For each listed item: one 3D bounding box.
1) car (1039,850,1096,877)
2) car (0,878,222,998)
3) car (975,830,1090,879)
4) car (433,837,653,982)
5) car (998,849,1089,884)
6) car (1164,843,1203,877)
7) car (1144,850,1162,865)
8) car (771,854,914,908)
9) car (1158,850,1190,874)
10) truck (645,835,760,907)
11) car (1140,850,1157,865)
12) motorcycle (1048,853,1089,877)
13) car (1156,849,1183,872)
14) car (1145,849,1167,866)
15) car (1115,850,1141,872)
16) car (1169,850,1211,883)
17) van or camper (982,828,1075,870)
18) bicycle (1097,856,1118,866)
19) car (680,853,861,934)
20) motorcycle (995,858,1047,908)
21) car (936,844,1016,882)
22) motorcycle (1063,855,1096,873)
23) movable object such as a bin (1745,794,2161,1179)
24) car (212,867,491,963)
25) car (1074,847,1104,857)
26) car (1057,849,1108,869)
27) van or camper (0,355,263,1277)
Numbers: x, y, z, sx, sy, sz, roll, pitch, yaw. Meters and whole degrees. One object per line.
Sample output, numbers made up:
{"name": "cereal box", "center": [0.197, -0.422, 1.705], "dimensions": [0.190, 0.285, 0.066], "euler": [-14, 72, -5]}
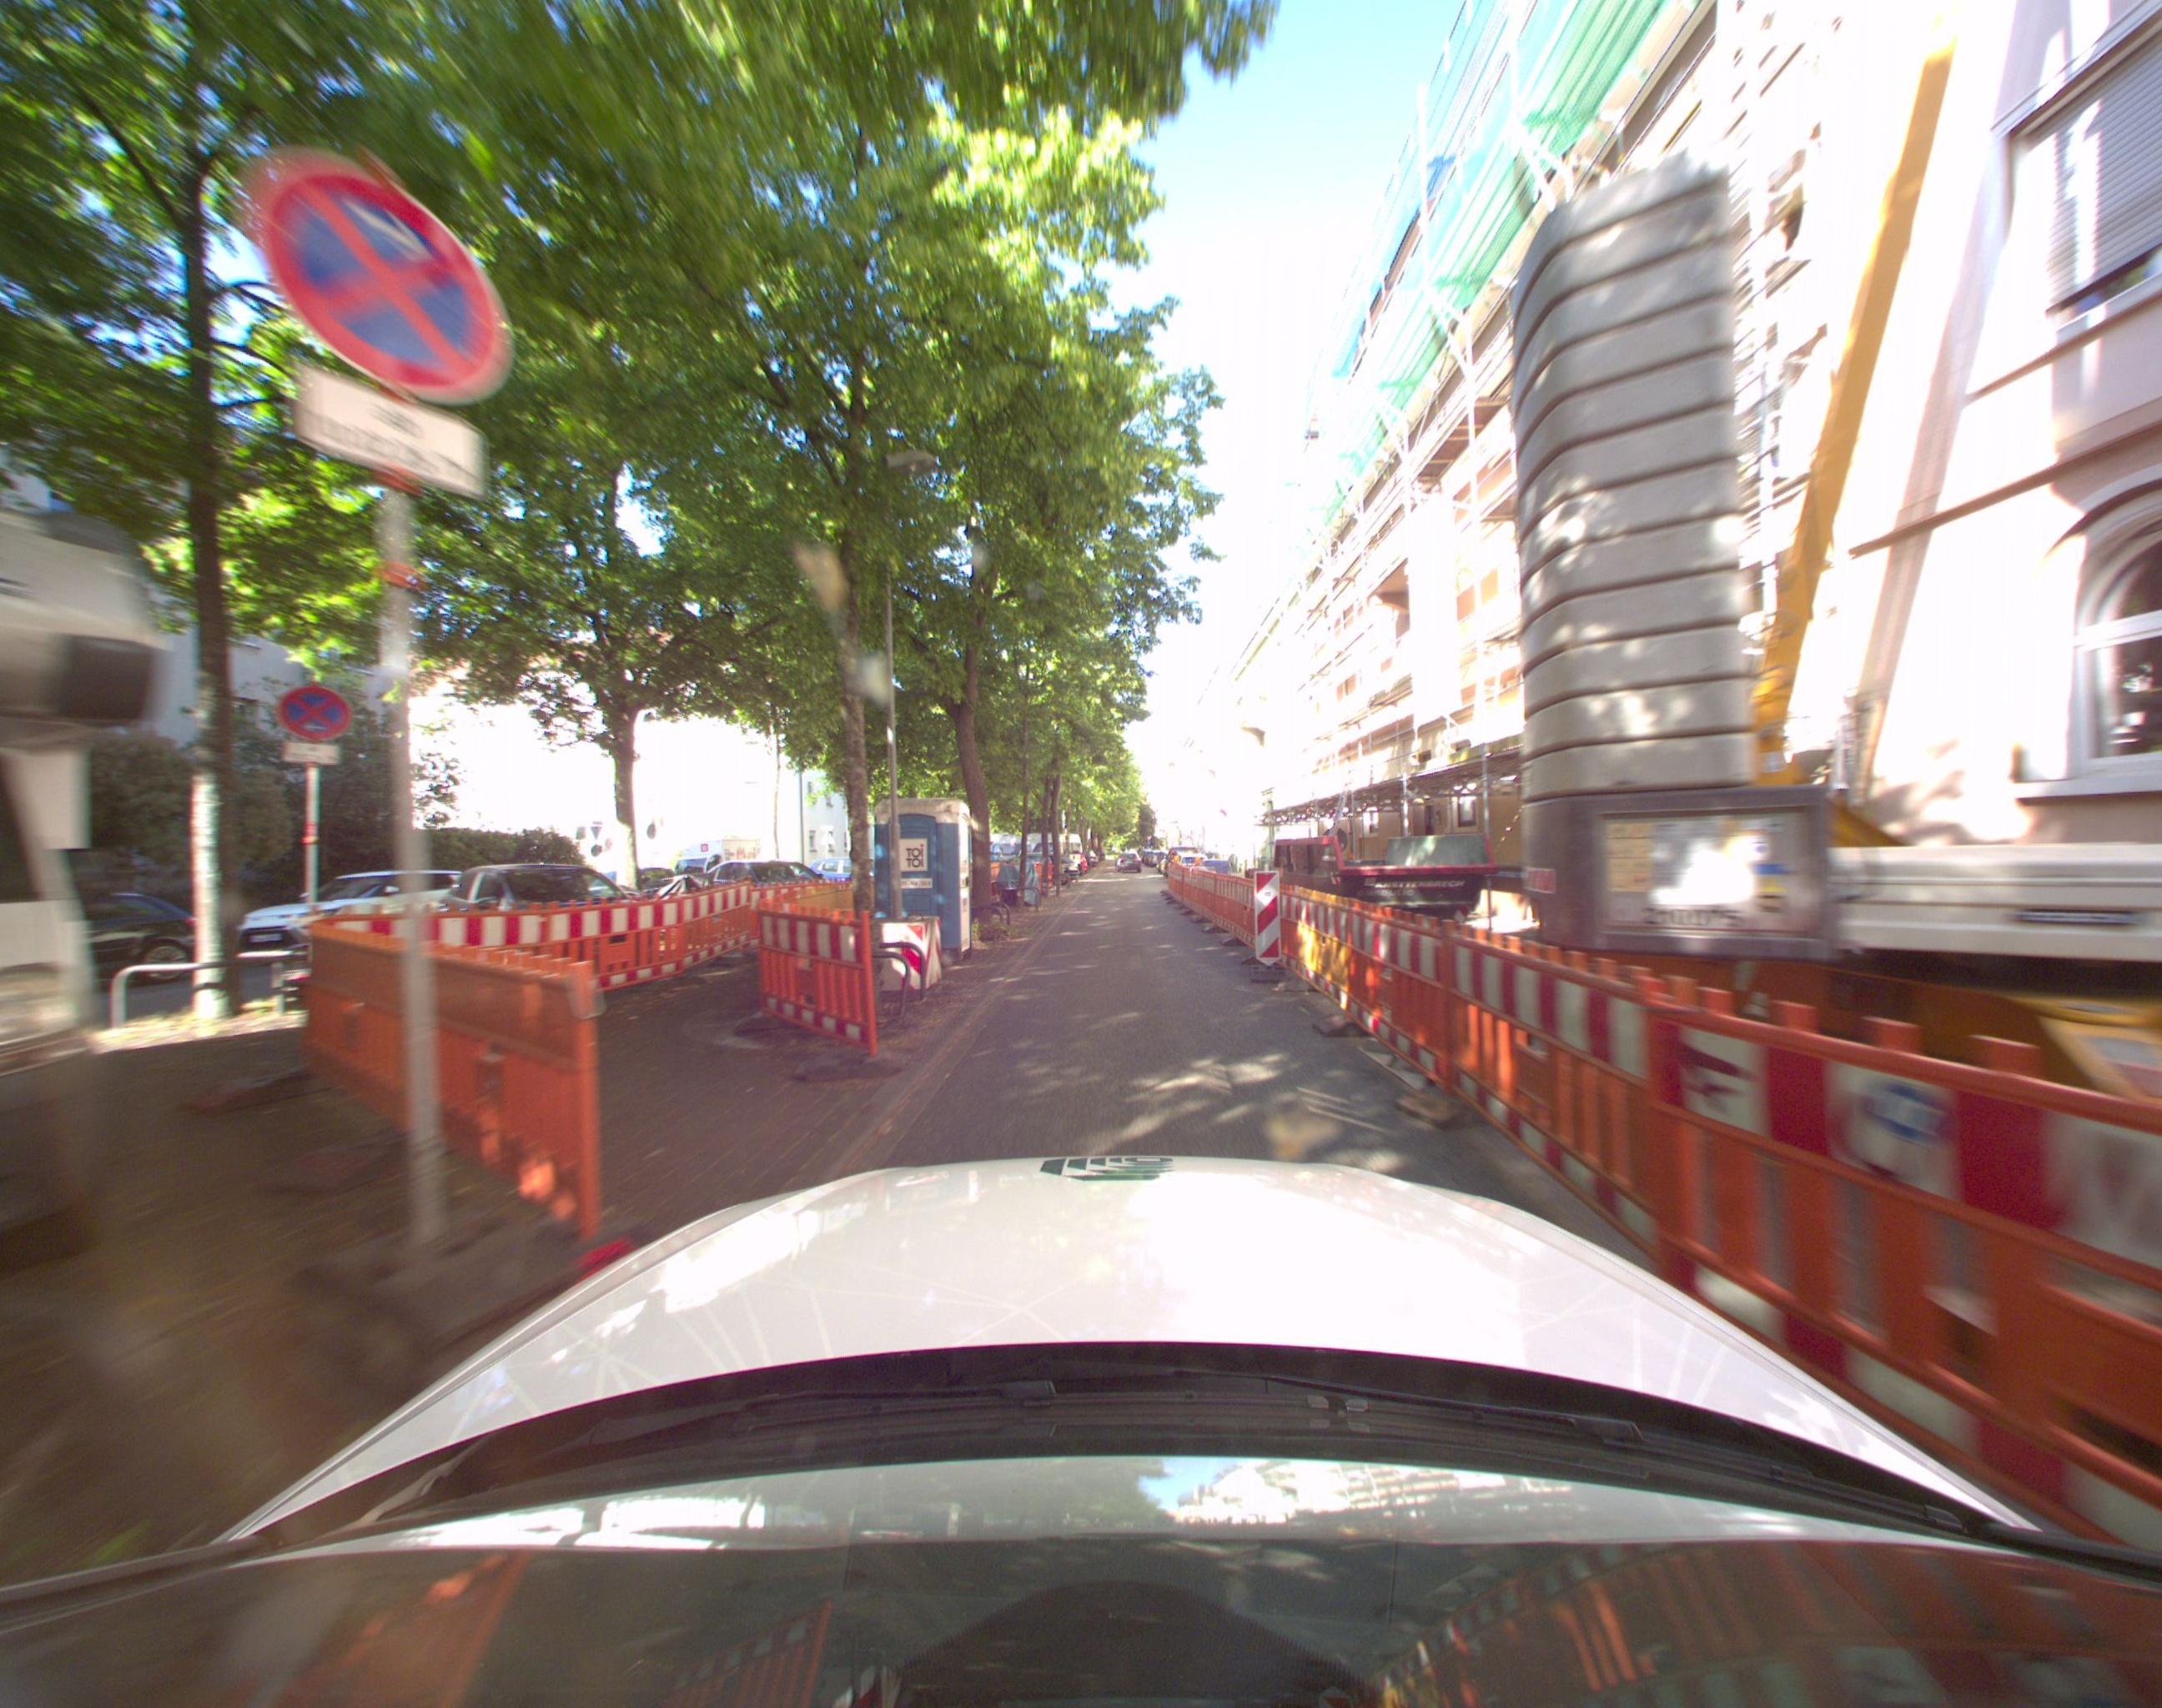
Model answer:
{"name": "car", "center": [-0.891, 0.630, 52.592], "dimensions": [1.671, 1.618, 3.836], "euler": [-2, 0, -37]}
{"name": "car", "center": [-14.545, 1.118, 10.839], "dimensions": [1.712, 1.443, 4.130], "euler": [-1, 0, 3]}
{"name": "car", "center": [-2.776, 0.046, 45.370], "dimensions": [6.246, 2.559, 2.353], "euler": [0, -1, 35]}
{"name": "car", "center": [-7.332, 0.673, 11.048], "dimensions": [2.954, 1.717, 1.431], "euler": [-2, 0, 34]}
{"name": "car", "center": [-1.774, 0.562, 37.938], "dimensions": [4.047, 1.525, 1.713], "euler": [-1, 2, 36]}
{"name": "car", "center": [5.736, 0.326, 46.062], "dimensions": [1.764, 1.794, 3.991], "euler": [-1, 0, 2]}
{"name": "car", "center": [7.300, 0.386, 82.827], "dimensions": [1.685, 1.468, 4.008], "euler": [0, 0, 3]}
{"name": "car", "center": [-7.012, 0.795, 23.922], "dimensions": [3.866, 1.461, 1.586], "euler": [-1, 0, 23]}
{"name": "car", "center": [5.870, 0.485, 51.766], "dimensions": [1.601, 1.420, 4.570], "euler": [-1, 0, 2]}
{"name": "truck", "center": [-13.813, 0.583, 30.025], "dimensions": [1.913, 2.409, 4.269], "euler": [-2, 0, 5]}
{"name": "car", "center": [7.700, 0.404, 92.718], "dimensions": [1.797, 1.563, 4.325], "euler": [-2, 0, 4]}
{"name": "motorcycle", "center": [-0.774, 0.628, 48.213], "dimensions": [2.317, 1.335, 0.967], "euler": [-1, 0, -7]}
{"name": "car", "center": [6.111, 0.439, 56.517], "dimensions": [1.593, 1.492, 3.969], "euler": [-1, 0, 2]}
{"name": "car", "center": [6.692, 0.327, 72.628], "dimensions": [1.762, 1.431, 4.294], "euler": [-1, 0, 3]}
{"name": "car", "center": [3.374, 0.473, 57.750], "dimensions": [1.706, 1.483, 4.149], "euler": [-2, 0, 4]}
{"name": "car", "center": [5.354, 0.566, 40.496], "dimensions": [1.698, 1.511, 4.287], "euler": [-1, 0, 3]}
{"name": "van or camper", "center": [-3.709, -0.325, 57.015], "dimensions": [6.226, 2.825, 2.423], "euler": [0, 0, 31]}
{"name": "bicycle", "center": [2.466, 0.629, 75.320], "dimensions": [1.881, 0.919, 0.381], "euler": [0, 0, 22]}
{"name": "car", "center": [-6.691, 0.799, 17.388], "dimensions": [3.948, 1.519, 1.681], "euler": [-2, 0, 36]}
{"name": "motorcycle", "center": [-1.637, 0.763, 22.486], "dimensions": [0.626, 1.324, 2.239], "euler": [0, 0, 18]}
{"name": "car", "center": [-5.668, 0.473, 43.461], "dimensions": [2.012, 1.915, 4.330], "euler": [-1, 0, -44]}
{"name": "motorcycle", "center": [-0.073, 0.688, 56.080], "dimensions": [2.133, 1.230, 0.884], "euler": [-1, 0, 11]}
{"name": "movable object such as a bin", "center": [4.554, 0.515, 4.030], "dimensions": [1.853, 1.526, 1.638], "euler": [-2, 0, 37]}
{"name": "car", "center": [-14.212, 1.094, 16.255], "dimensions": [1.712, 1.559, 4.116], "euler": [-1, 0, 3]}
{"name": "car", "center": [1.156, -0.273, 116.000], "dimensions": [4.090, 1.466, 1.860], "euler": [1, -1, -11]}
{"name": "car", "center": [0.105, 0.416, 67.584], "dimensions": [3.968, 1.474, 1.637], "euler": [-2, 0, 38]}
{"name": "van or camper", "center": [-6.386, -0.049, 3.642], "dimensions": [5.956, 3.002, 2.415], "euler": [-2, 0, 31]}
